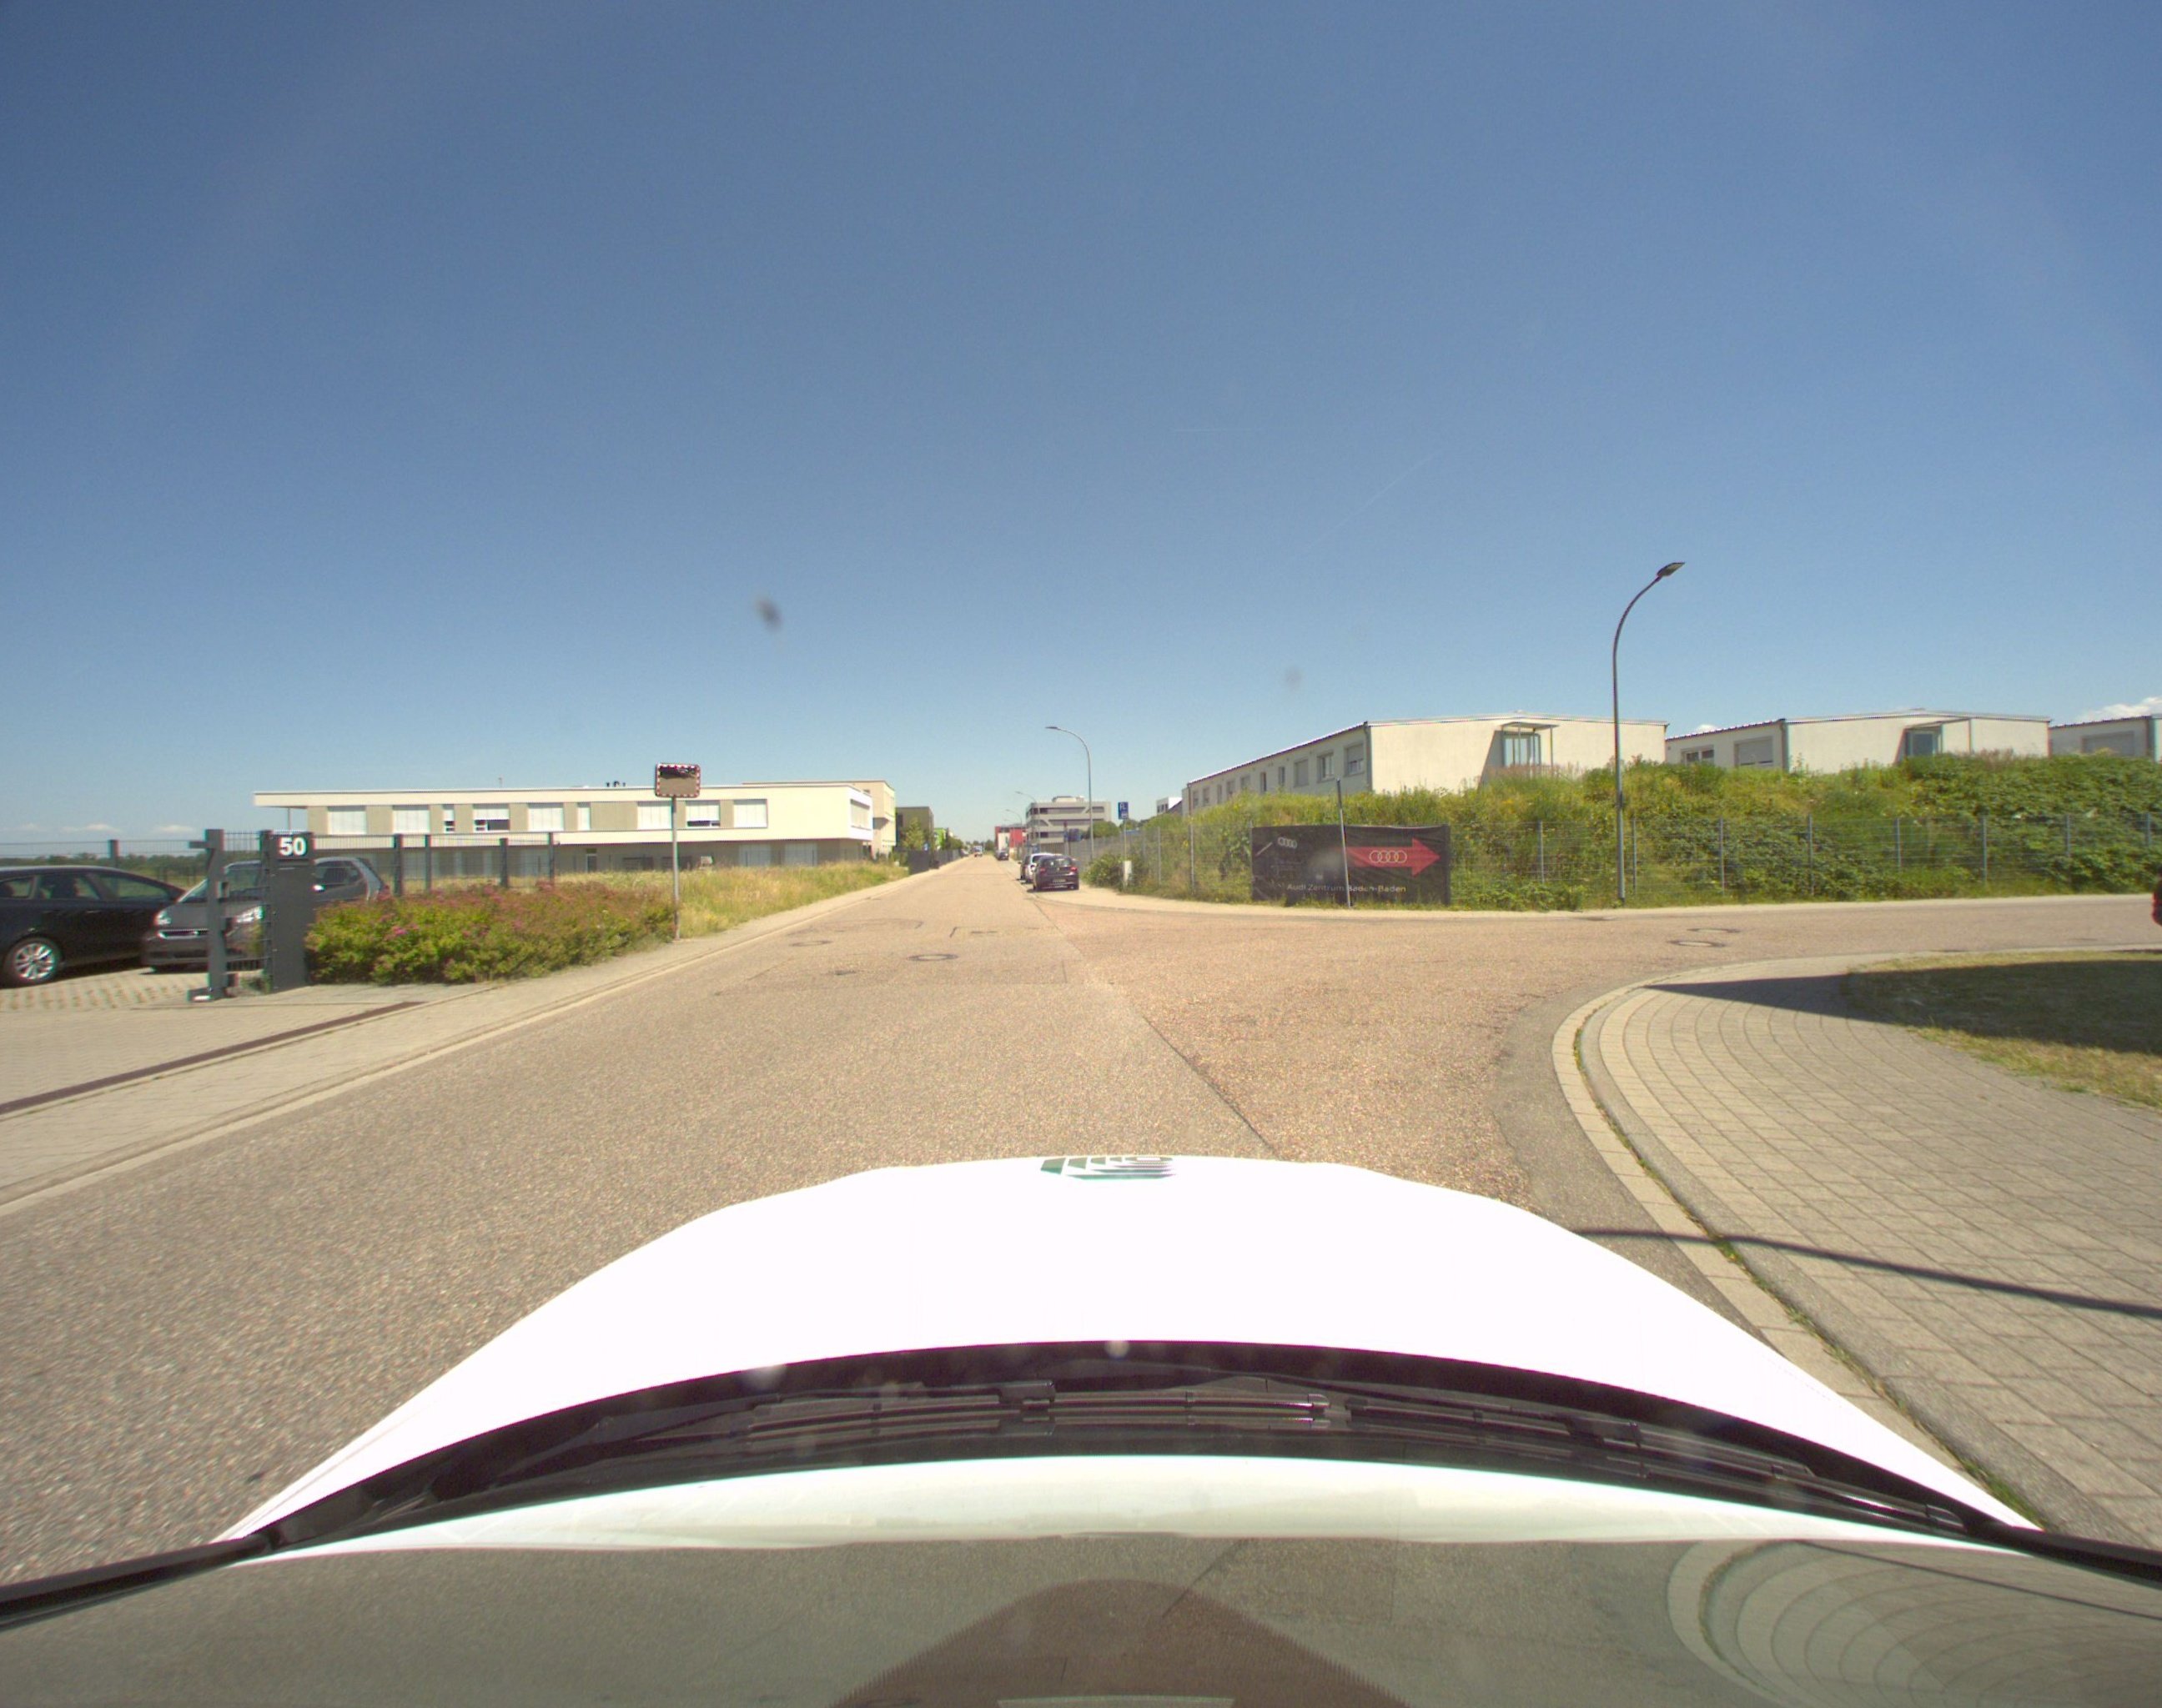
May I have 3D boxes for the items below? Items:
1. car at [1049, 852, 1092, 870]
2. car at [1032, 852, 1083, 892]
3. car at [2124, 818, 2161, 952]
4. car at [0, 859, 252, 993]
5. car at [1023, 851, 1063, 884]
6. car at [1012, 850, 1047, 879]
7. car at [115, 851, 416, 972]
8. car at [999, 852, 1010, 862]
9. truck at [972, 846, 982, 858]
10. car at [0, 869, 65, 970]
[{"bbox_3d":[-1.212,0.763,89.718,4.615,2.013,2.603,0,0,-4],"label":"car"},{"bbox_3d":[-1.040,0.690,33.606,1.904,1.448,3.995,-3,0,-4],"label":"car"},{"bbox_3d":[15.164,0.371,9.137,1.715,1.765,3.996,-1,-1,-2],"label":"car"},{"bbox_3d":[-13.812,0.879,10.827,1.825,1.541,3.988,-2,1,-9],"label":"car"},{"bbox_3d":[-2.039,0.643,42.843,1.904,1.546,3.995,-3,0,-4],"label":"car"},{"bbox_3d":[-3.086,0.613,48.429,1.904,1.546,3.995,-3,0,-4],"label":"car"},{"bbox_3d":[-11.907,0.738,12.190,1.700,1.520,2.988,-2,0,-9],"label":"car"},{"bbox_3d":[-13.526,0.575,143.370,1.774,1.728,3.991,0,0,-6],"label":"car"},{"bbox_3d":[-32.051,-0.571,251.507,2.598,3.544,10.469,-3,1,-9],"label":"truck"},{"bbox_3d":[-16.326,0.987,10.475,1.801,1.440,3.988,-2,1,-9],"label":"car"}]
